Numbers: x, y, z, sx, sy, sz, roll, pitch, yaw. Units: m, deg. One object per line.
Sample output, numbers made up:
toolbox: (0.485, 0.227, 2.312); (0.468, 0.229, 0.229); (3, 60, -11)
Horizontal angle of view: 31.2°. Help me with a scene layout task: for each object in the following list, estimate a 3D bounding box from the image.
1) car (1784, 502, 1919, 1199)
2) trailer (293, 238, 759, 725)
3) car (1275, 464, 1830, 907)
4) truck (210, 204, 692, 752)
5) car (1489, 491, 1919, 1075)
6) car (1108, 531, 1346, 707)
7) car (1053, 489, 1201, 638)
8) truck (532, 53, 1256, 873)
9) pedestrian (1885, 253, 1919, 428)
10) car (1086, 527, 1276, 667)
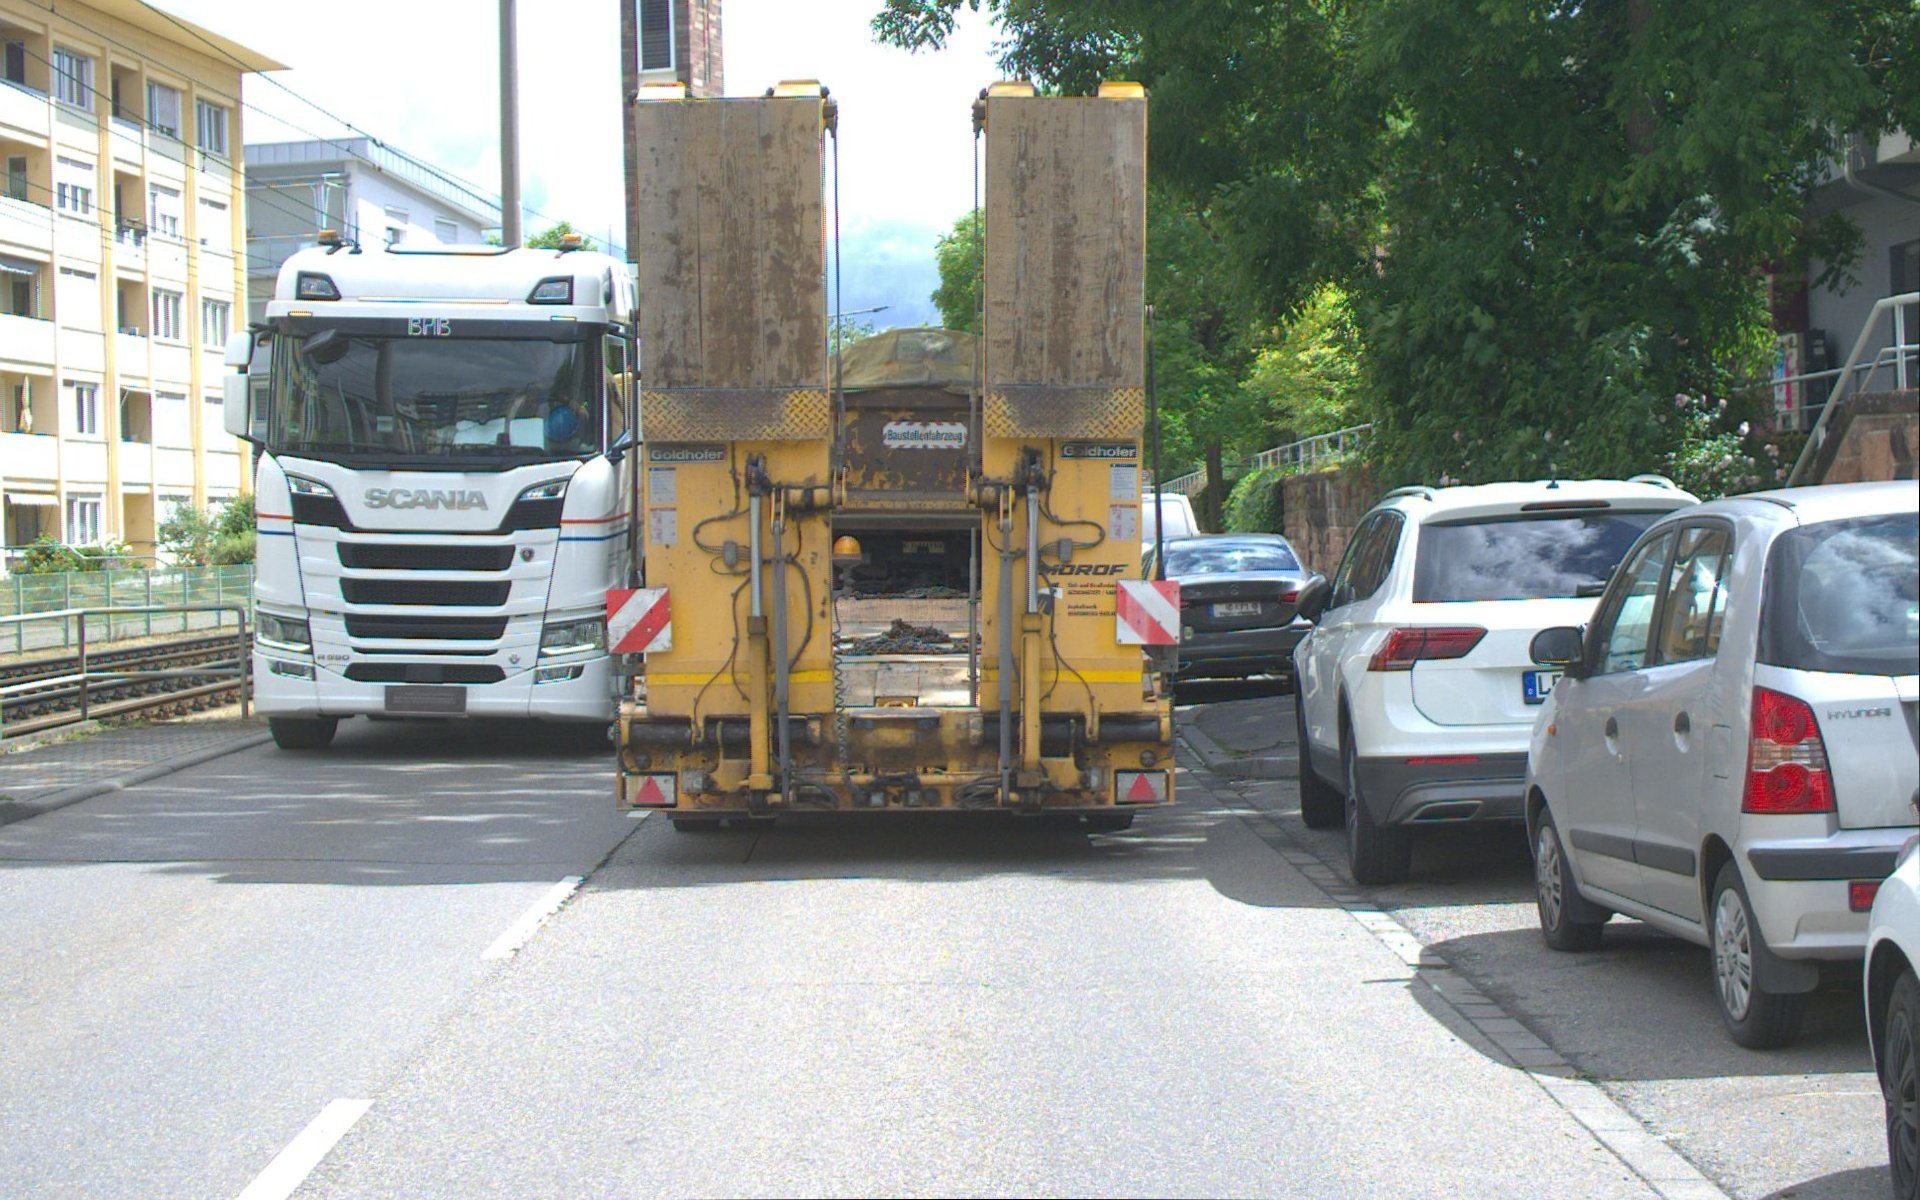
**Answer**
car: (2.721, 0.565, 5.883); (1.645, 1.484, 3.822); (-1, 2, -1)
trailer: (-3.596, -1.054, 32.151); (2.698, 3.568, 13.676); (0, 2, 0)
car: (2.510, 0.272, 15.651); (1.824, 1.676, 4.576); (-2, 1, 2)
truck: (-3.573, -0.877, 25.568); (2.698, 3.568, 6.145); (0, 1, 0)
car: (2.806, 0.433, 10.893); (1.581, 1.547, 3.475); (-1, 2, -2)
car: (2.347, 0.117, 31.204); (1.836, 1.400, 4.414); (-2, 2, 1)
car: (2.331, -0.551, 48.929); (1.799, 1.961, 4.590); (-2, 1, 0)
truck: (-0.320, -0.765, 21.286); (3.124, 3.552, 12.461); (-1, 2, 0)
pedestrian: (4.787, -1.205, 15.933); (0.795, 0.787, 0.705); (-1, 1, -2)
car: (2.409, -0.076, 38.335); (1.690, 1.400, 4.069); (-2, 2, -2)
